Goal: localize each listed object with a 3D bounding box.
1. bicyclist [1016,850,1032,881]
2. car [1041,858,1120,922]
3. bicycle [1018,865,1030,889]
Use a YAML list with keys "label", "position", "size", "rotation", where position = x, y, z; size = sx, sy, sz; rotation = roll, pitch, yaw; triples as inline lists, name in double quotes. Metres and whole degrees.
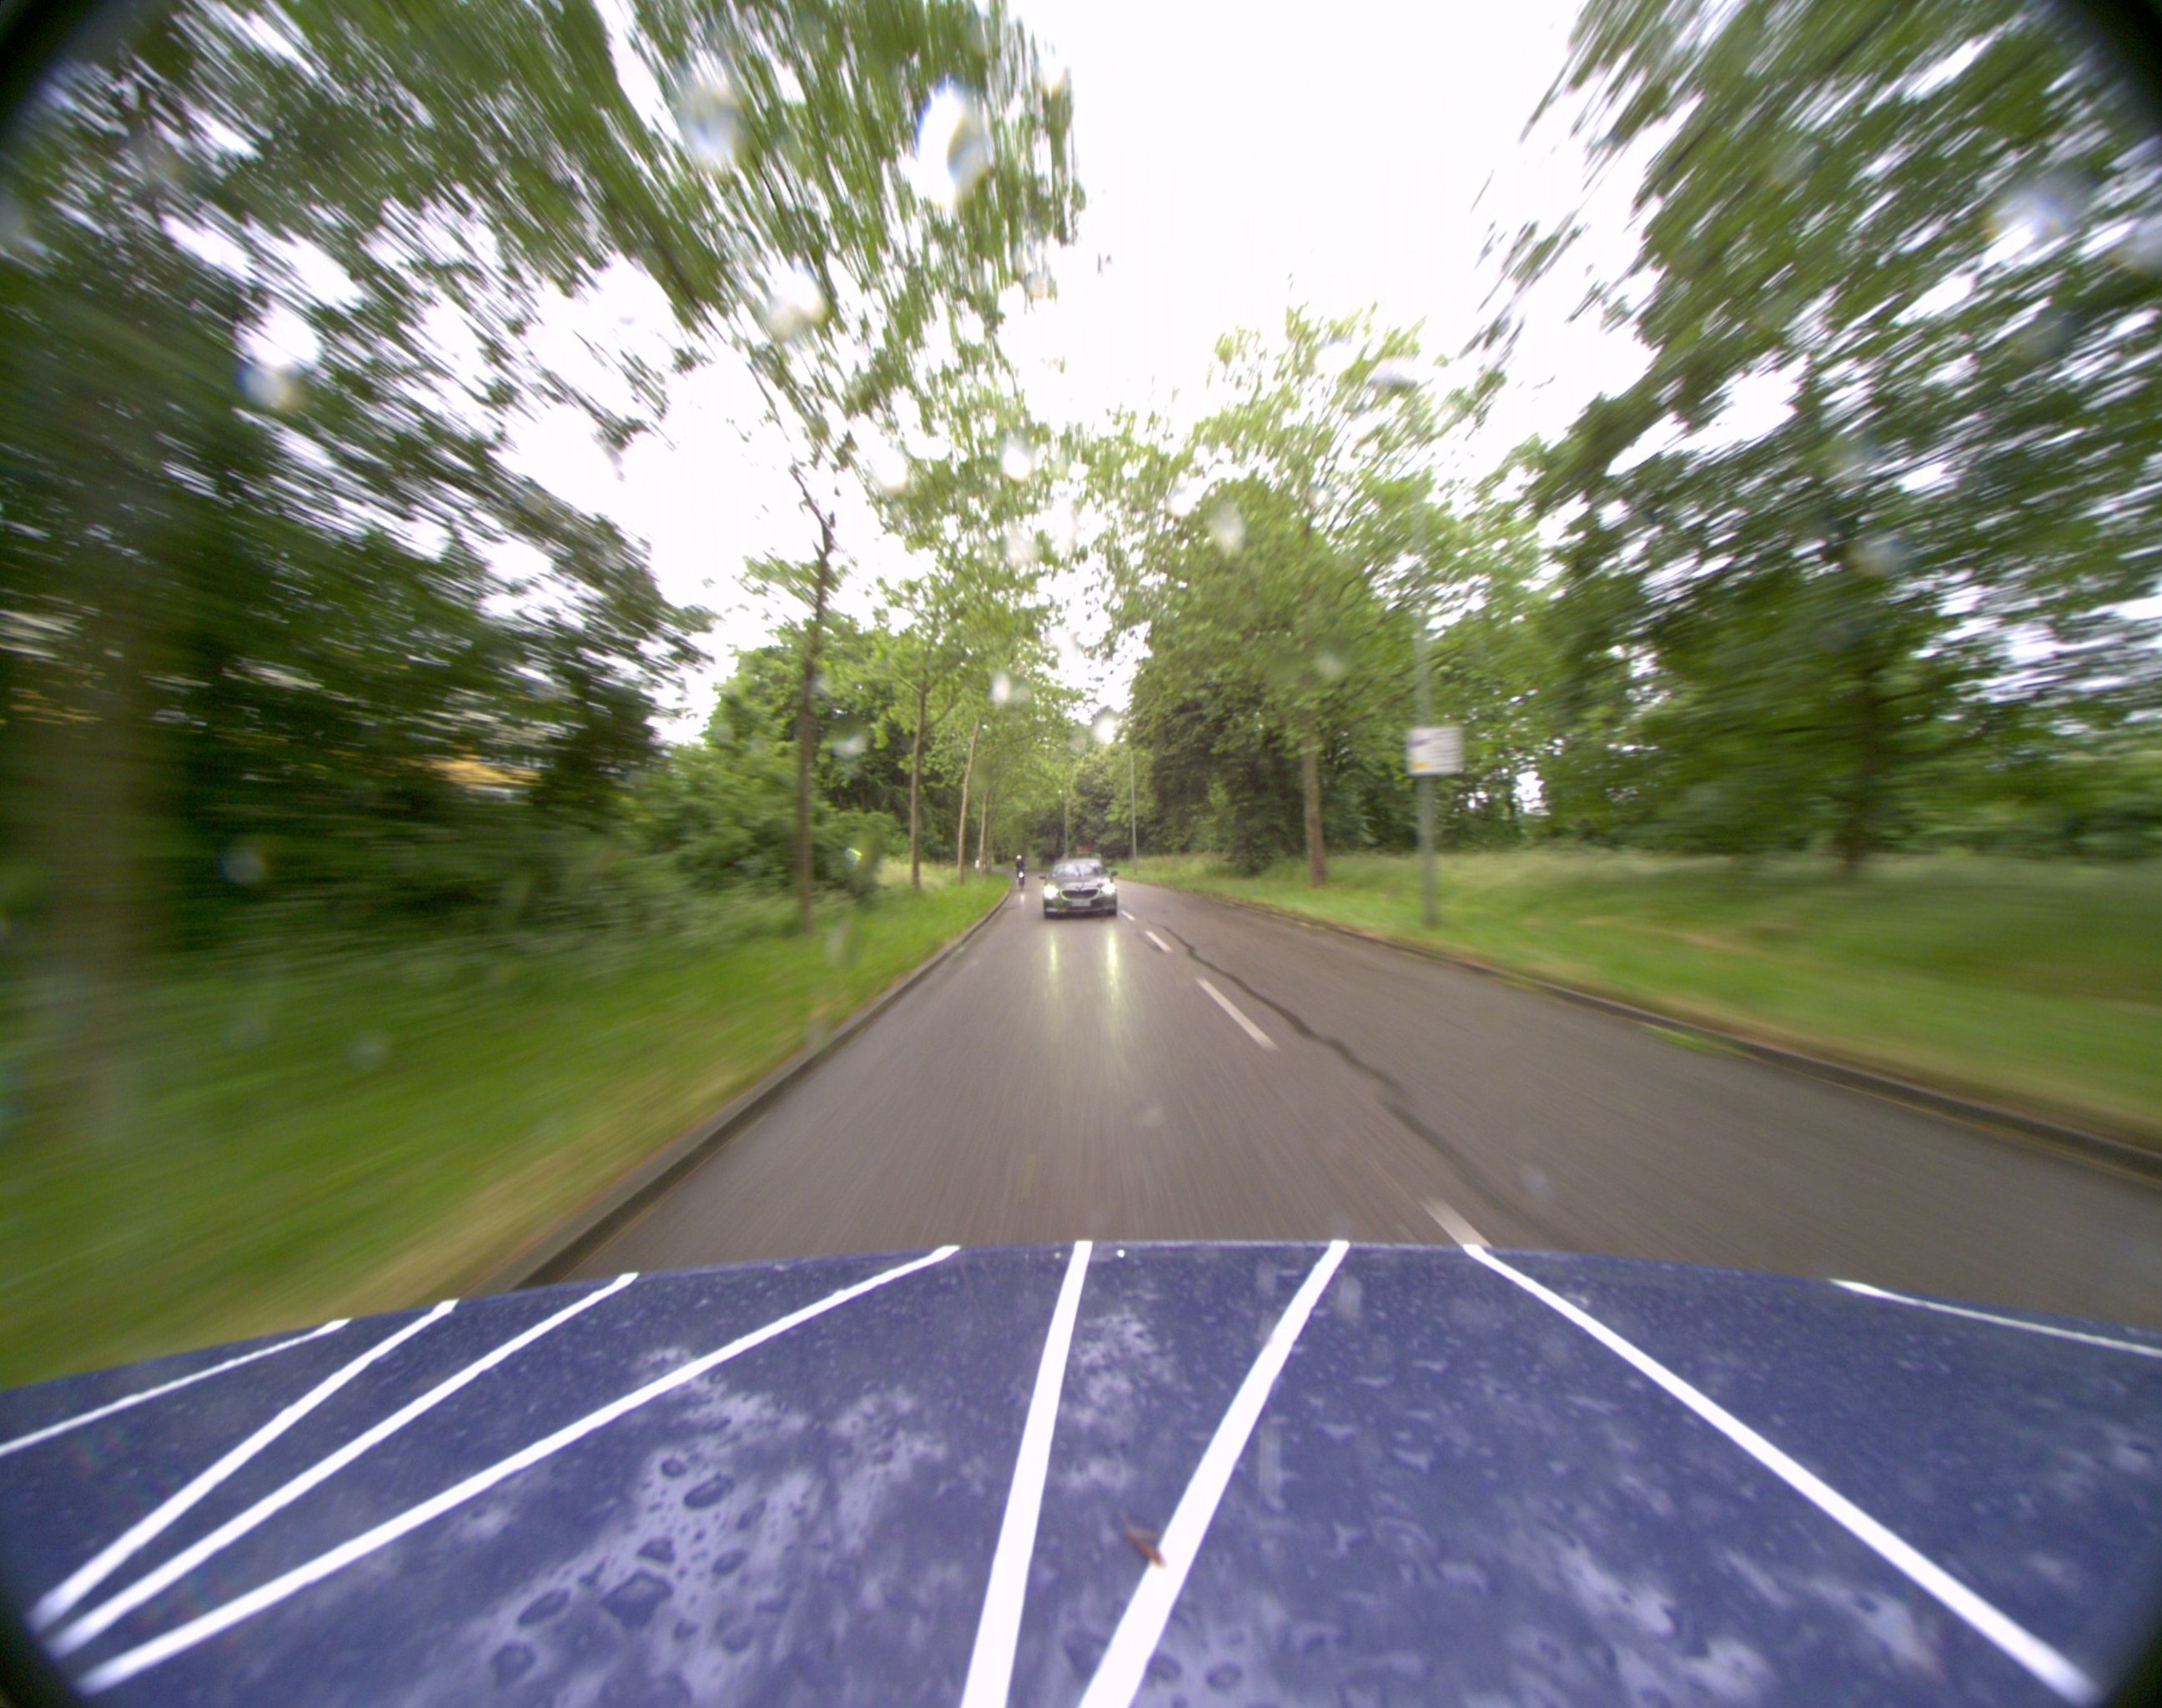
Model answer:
- label: "bicyclist"
  position: [-2.881, 0.570, 38.272]
  size: [0.698, 1.489, 0.800]
  rotation: [-2, 1, -1]
- label: "car"
  position: [-0.096, 0.897, 20.926]
  size: [1.844, 1.485, 4.901]
  rotation: [-2, -1, -2]
- label: "bicycle"
  position: [-2.870, 1.156, 38.333]
  size: [0.453, 1.127, 1.833]
  rotation: [-3, 1, -1]
